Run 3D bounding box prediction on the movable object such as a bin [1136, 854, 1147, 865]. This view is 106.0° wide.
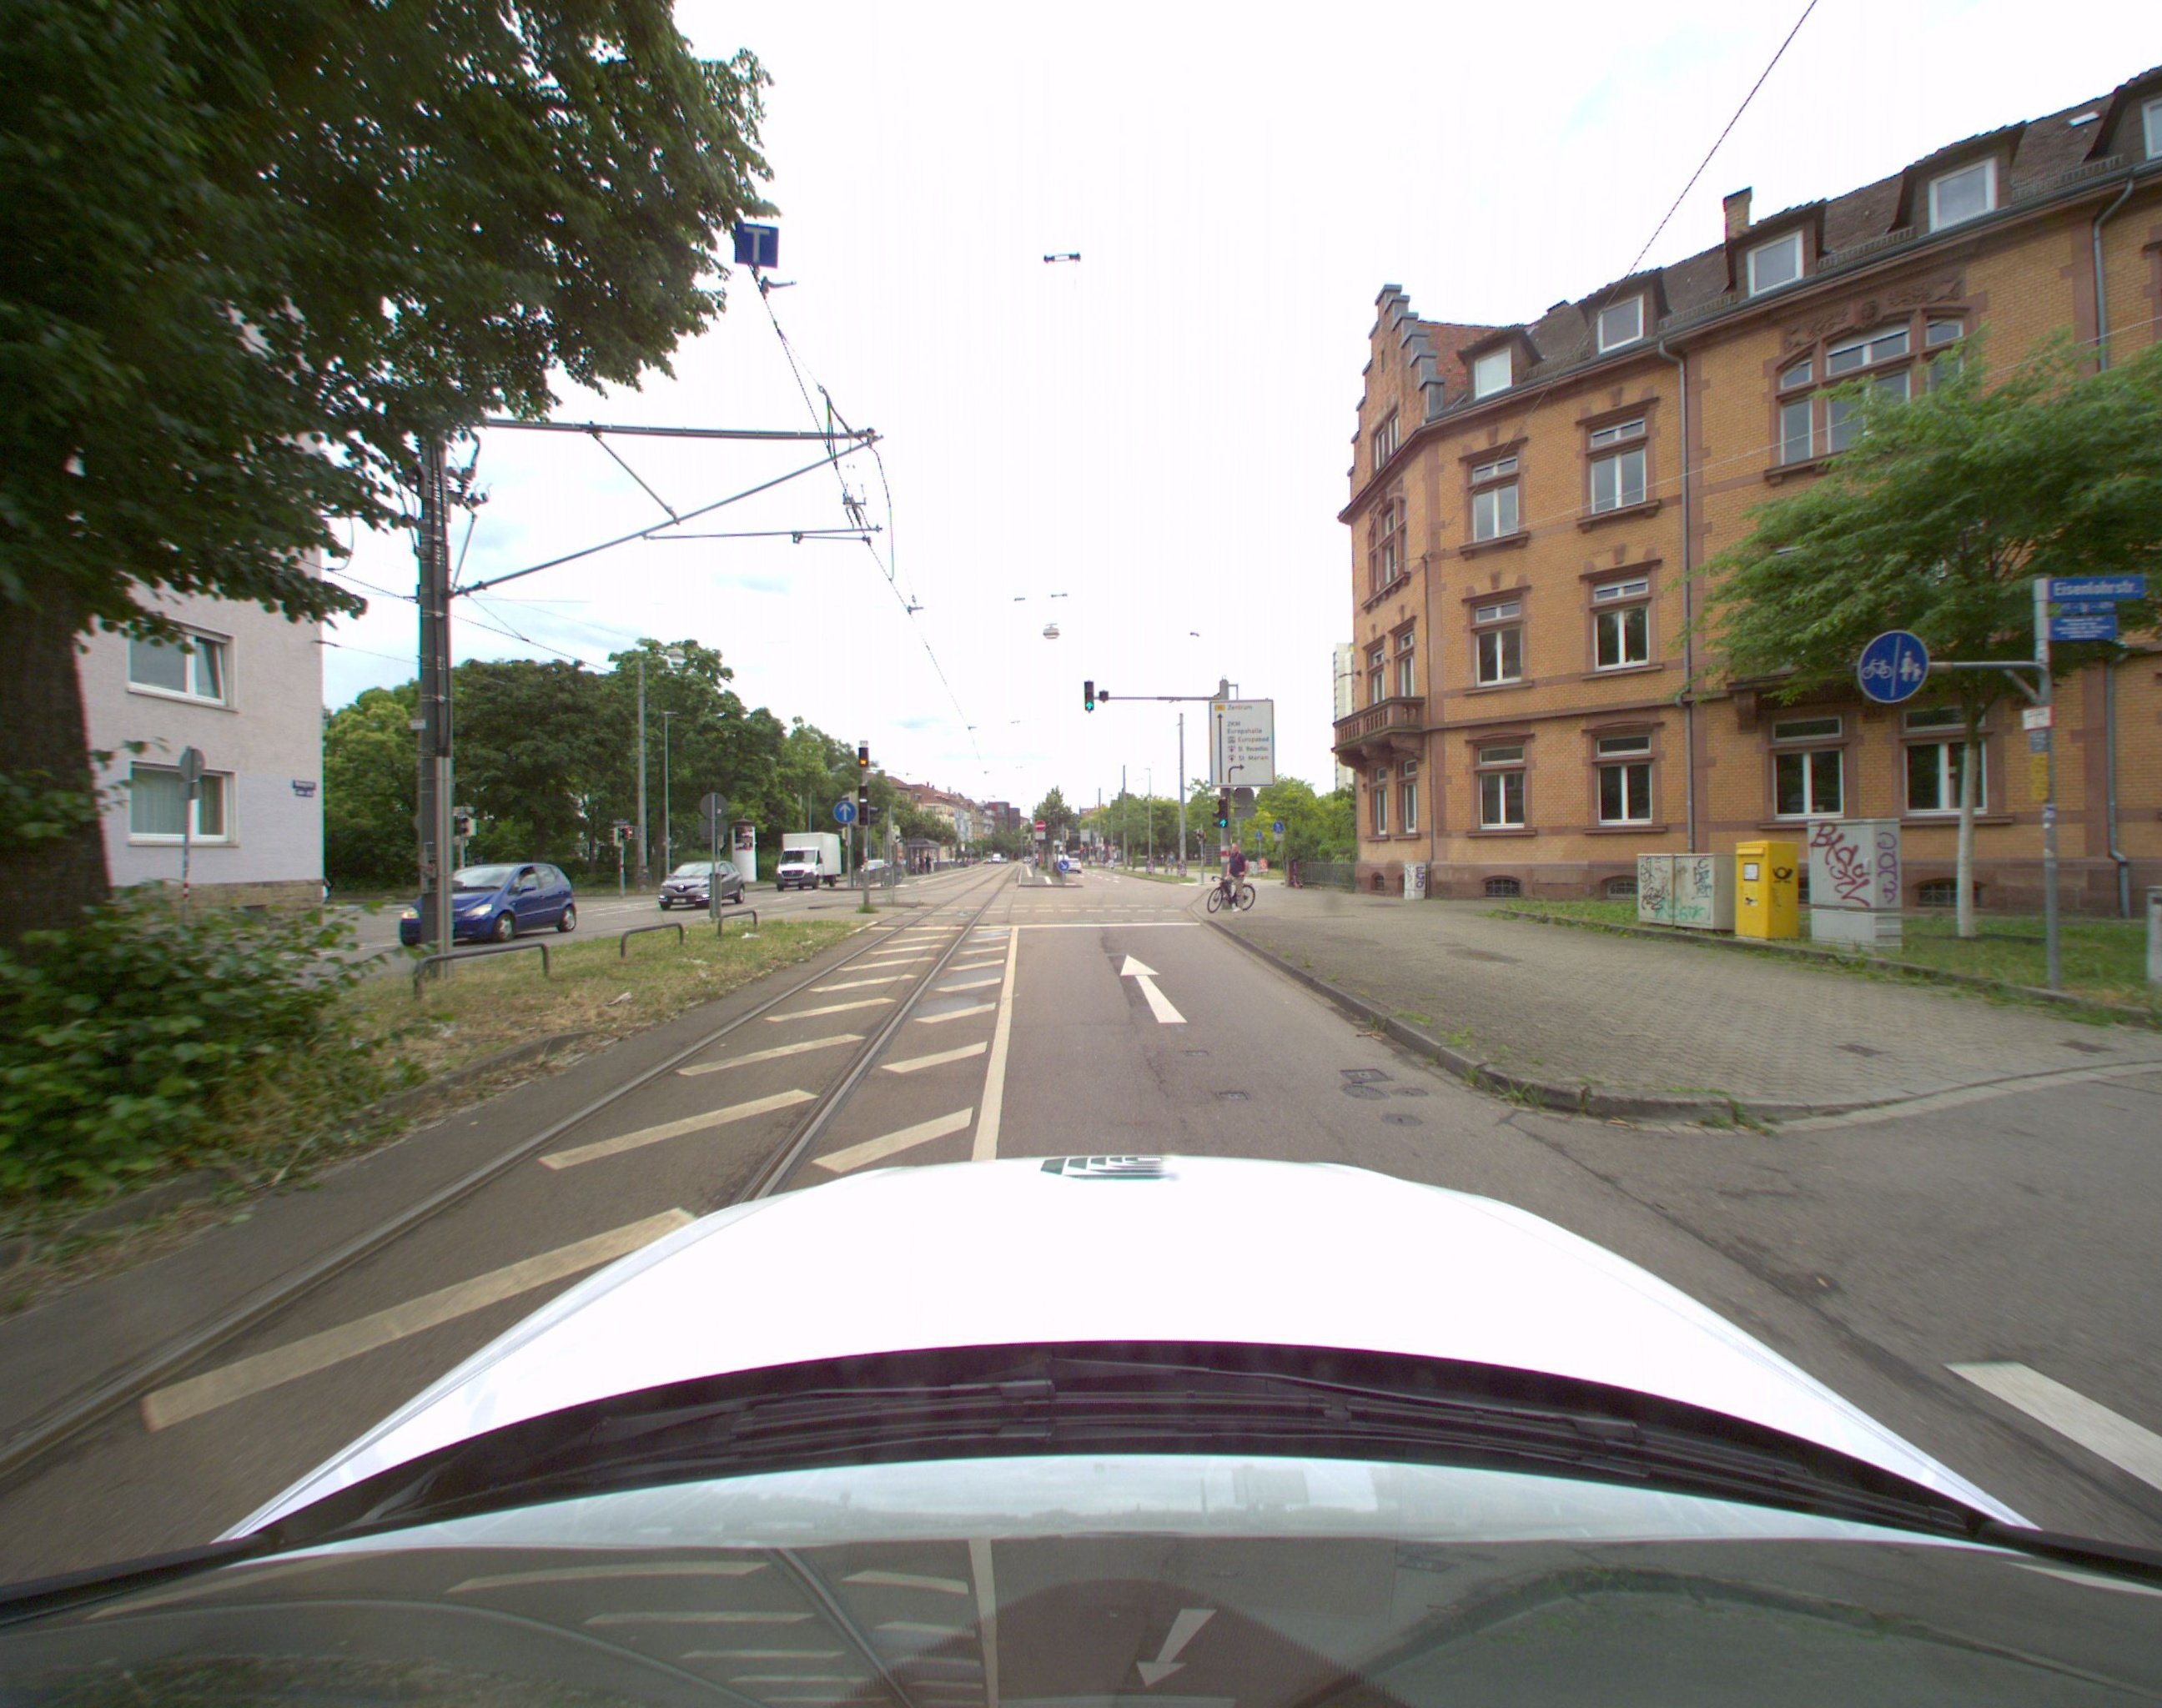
[{"bbox_3d":[7.947,0.698,107.381,1.279,1.390,1.157,-1,-1,-3],"label":"movable object such as a bin"}]

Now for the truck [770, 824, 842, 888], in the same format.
[{"bbox_3d":[-14.637,0.140,43.838,2.182,3.157,7.313,-1,-1,-7],"label":"truck"}]

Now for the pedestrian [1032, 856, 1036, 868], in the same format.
[{"bbox_3d":[-6.261,1.082,108.031,0.530,1.557,0.570,-1,0,-1],"label":"pedestrian"}]

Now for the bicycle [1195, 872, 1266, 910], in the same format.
[{"bbox_3d":[3.971,0.948,21.529,1.876,0.924,0.788,0,0,-37],"label":"bicycle"}]

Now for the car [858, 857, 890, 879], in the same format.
[{"bbox_3d":[-16.513,1.115,65.174,1.768,1.639,4.528,-1,-1,-6],"label":"car"}]

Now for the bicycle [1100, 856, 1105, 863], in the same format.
[{"bbox_3d":[3.823,1.005,144.769,0.676,1.155,1.900,-1,0,5],"label":"bicycle"}]

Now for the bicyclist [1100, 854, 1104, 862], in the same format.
[{"bbox_3d":[3.804,0.718,144.779,0.676,1.379,0.728,-1,0,4],"label":"bicyclist"}]

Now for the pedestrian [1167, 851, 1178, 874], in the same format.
[{"bbox_3d":[7.572,0.736,67.483,0.738,1.869,0.681,-1,0,-5],"label":"pedestrian"}]

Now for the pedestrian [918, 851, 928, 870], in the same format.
[{"bbox_3d":[-13.640,0.548,70.371,0.768,1.660,1.022,-1,0,-7],"label":"pedestrian"}]

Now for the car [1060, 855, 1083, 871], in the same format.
[{"bbox_3d":[-0.910,0.880,79.568,1.781,1.472,3.999,-1,0,-8],"label":"car"}]

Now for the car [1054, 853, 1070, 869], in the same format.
[{"bbox_3d":[-2.372,0.814,102.557,1.779,1.962,4.375,-1,0,-4],"label":"car"}]

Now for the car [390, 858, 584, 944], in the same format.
[{"bbox_3d":[-12.023,0.876,16.797,1.642,1.534,3.621,-1,-1,-7],"label":"car"}]

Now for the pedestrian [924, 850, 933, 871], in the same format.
[{"bbox_3d":[-12.519,0.500,66.866,0.700,1.715,0.696,-1,0,-13],"label":"pedestrian"}]

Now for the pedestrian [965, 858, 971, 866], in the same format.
[{"bbox_3d":[-17.110,1.244,123.404,0.864,1.267,0.692,-1,0,-7],"label":"pedestrian"}]

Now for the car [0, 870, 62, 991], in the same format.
[{"bbox_3d":[-13.658,0.931,7.983,1.632,1.443,4.753,-1,0,-5],"label":"car"}]

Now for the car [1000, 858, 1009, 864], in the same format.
[{"bbox_3d":[-19.992,1.809,213.172,1.763,1.493,3.889,-1,-1,2],"label":"car"}]

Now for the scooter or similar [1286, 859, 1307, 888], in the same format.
[{"bbox_3d":[8.510,0.756,32.160,0.375,1.141,1.197,-1,0,-6],"label":"scooter or similar"}]

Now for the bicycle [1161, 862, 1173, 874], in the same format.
[{"bbox_3d":[7.144,1.156,67.498,0.653,1.003,1.776,-1,0,-4],"label":"bicycle"}]

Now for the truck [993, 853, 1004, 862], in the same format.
[{"bbox_3d":[-20.130,0.914,198.466,1.781,2.032,5.399,-1,-1,2],"label":"truck"}]

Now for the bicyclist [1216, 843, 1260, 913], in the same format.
[{"bbox_3d":[4.106,0.614,21.339,0.685,1.795,0.881,0,0,-35],"label":"bicyclist"}]

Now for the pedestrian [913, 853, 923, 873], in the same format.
[{"bbox_3d":[-13.506,0.738,67.323,0.635,1.624,0.674,-1,0,-29],"label":"pedestrian"}]

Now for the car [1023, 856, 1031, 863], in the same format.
[{"bbox_3d":[-12.660,1.337,191.453,1.765,1.493,3.884,-1,-1,-1],"label":"car"}]

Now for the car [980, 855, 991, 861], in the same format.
[{"bbox_3d":[-21.947,0.932,187.509,1.763,1.493,3.889,-1,-1,2],"label":"car"}]

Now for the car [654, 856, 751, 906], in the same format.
[{"bbox_3d":[-12.602,0.869,27.409,1.641,1.534,4.124,-1,-1,-5],"label":"car"}]
